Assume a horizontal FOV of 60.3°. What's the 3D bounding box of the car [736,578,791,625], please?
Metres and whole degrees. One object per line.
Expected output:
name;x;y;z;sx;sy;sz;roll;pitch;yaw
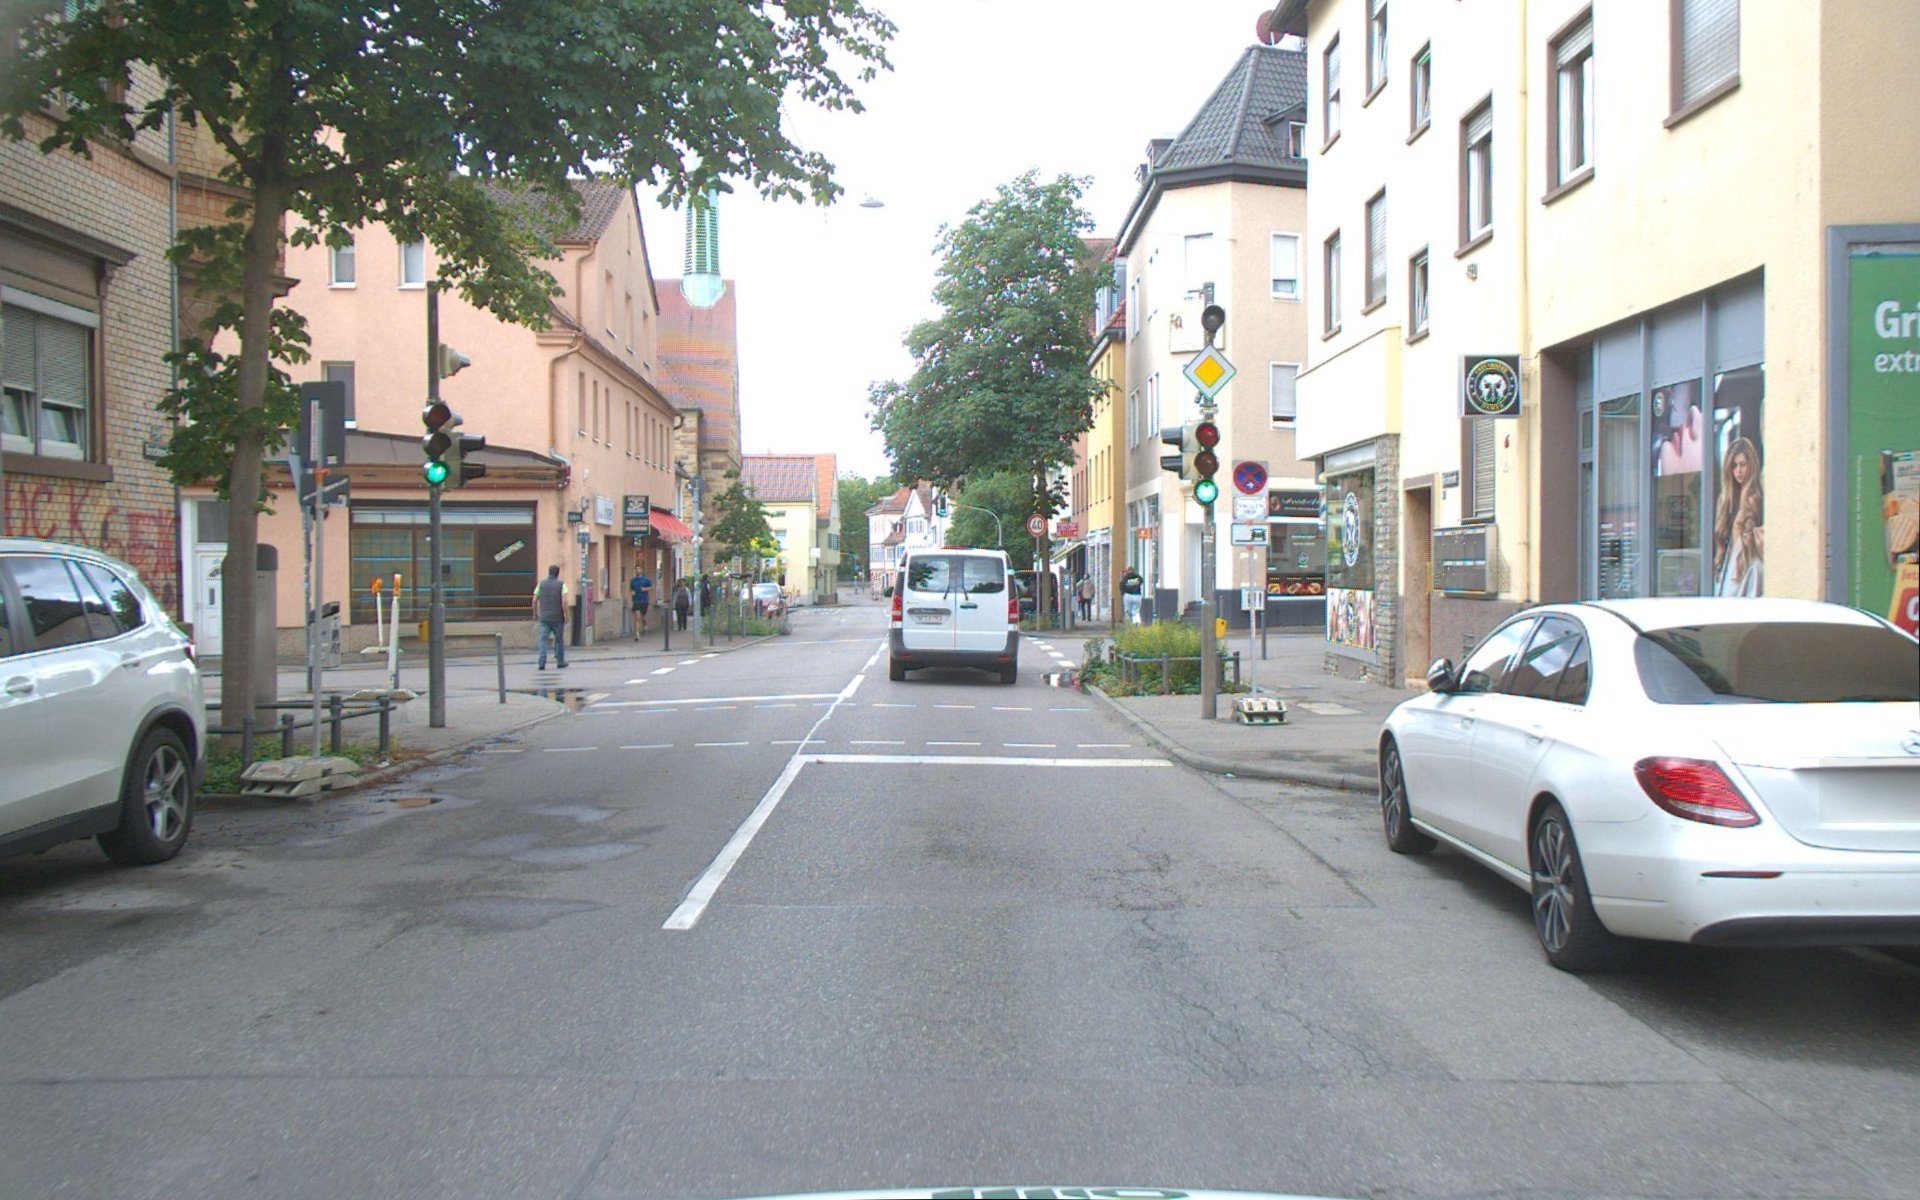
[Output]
car;-7.279;0.034;61.625;1.669;1.601;4.448;-2;1;-3

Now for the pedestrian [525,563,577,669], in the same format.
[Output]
pedestrian;-6.978;0.265;28.264;0.724;1.785;0.981;0;0;-6

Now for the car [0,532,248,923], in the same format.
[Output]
car;-5.222;0.597;7.578;1.852;1.742;4.740;-2;1;-1

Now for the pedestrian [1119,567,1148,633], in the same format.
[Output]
pedestrian;4.454;-0.003;42.458;0.602;1.681;0.982;0;0;-3

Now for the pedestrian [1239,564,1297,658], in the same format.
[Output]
pedestrian;5.629;0.192;30.240;0.669;1.693;0.790;-1;0;-38

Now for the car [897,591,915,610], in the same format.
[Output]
car;-6.084;0.054;185.333;1.896;2.049;3.997;1;0;-3

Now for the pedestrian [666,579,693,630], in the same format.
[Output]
pedestrian;-8.557;0.133;50.480;0.724;1.561;0.982;0;0;-3

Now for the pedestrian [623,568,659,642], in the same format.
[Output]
pedestrian;-7.714;0.117;40.056;0.724;1.748;1.156;0;0;-4

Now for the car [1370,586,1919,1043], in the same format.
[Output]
car;3.321;0.685;7.818;1.731;1.491;4.784;0;1;2

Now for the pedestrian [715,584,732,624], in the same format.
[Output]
pedestrian;-9.716;0.161;67.948;0.559;1.581;0.696;1;0;-2

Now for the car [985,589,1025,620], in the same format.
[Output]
car;1.994;0.198;74.076;1.520;1.356;3.810;0;0;-3

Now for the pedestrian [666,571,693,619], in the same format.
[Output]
pedestrian;-9.758;-0.180;57.505;0.721;1.657;0.752;0;0;-26

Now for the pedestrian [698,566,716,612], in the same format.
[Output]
pedestrian;-10.429;-0.455;68.253;0.559;1.880;0.696;3;0;-2

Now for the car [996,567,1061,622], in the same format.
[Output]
car;2.304;-0.186;56.561;1.783;1.812;4.400;0;0;-4

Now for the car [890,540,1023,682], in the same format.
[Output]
car;-0.090;0.134;24.758;1.835;1.945;3.999;0;0;-1

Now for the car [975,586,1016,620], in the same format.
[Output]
car;1.650;0.127;78.661;1.677;1.587;3.783;0;0;-3

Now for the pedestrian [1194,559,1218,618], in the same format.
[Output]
pedestrian;6.714;-0.303;45.221;0.555;1.588;0.520;1;0;-2

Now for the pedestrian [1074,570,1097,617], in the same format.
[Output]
pedestrian;4.558;-0.251;60.058;0.687;1.678;0.888;-1;0;-3
